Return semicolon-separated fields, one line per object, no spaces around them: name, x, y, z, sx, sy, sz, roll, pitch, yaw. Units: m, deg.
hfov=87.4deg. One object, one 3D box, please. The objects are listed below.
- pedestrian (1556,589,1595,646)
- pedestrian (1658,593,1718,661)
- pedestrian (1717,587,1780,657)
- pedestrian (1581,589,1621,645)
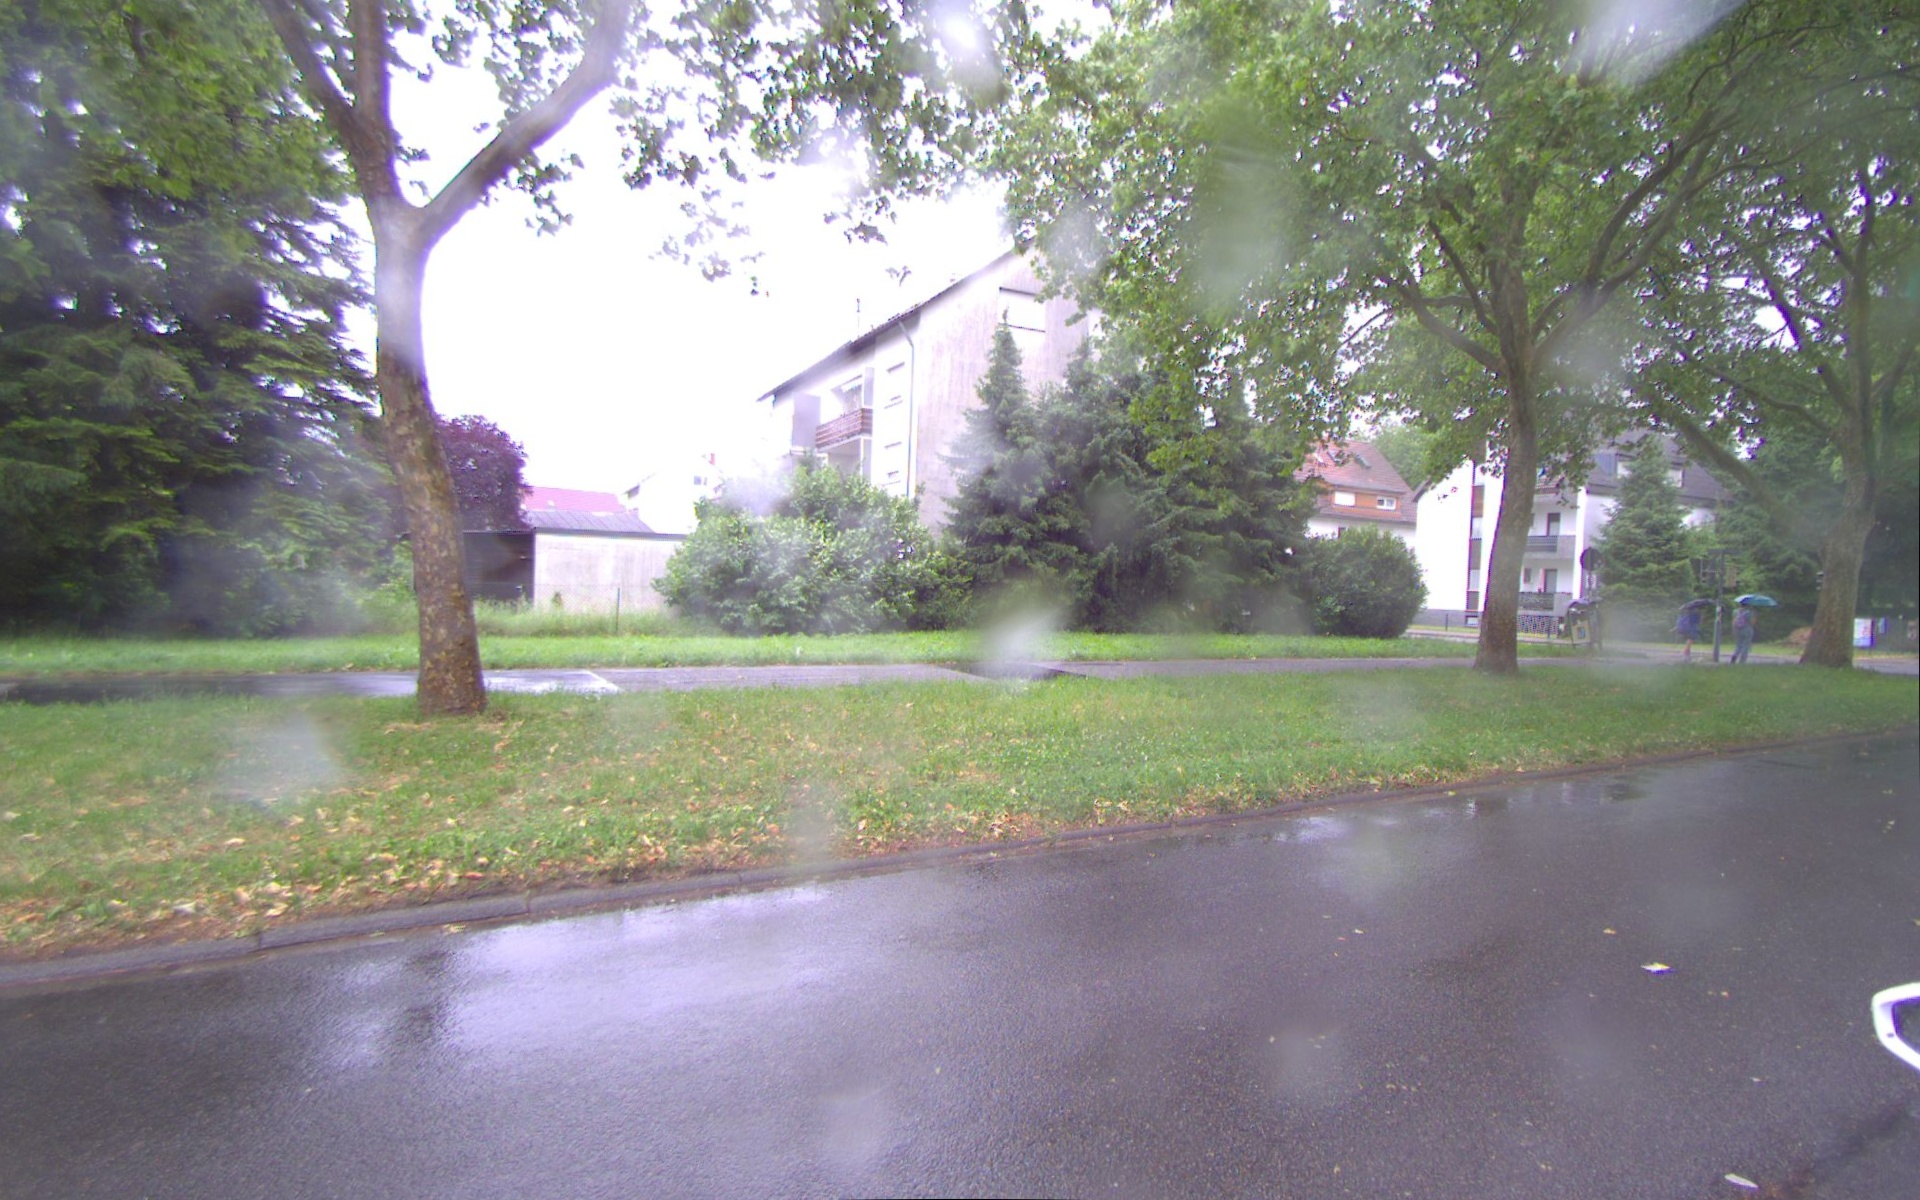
pedestrian;19.639;0.541;32.059;0.633;1.768;0.815;1;1;-33
pedestrian;19.821;0.727;27.371;0.869;1.789;1.028;1;1;-30
pedestrian;20.566;0.559;26.204;0.828;1.789;1.028;1;1;-30
pedestrian;20.734;0.558;32.502;0.633;1.768;0.854;1;1;-33
